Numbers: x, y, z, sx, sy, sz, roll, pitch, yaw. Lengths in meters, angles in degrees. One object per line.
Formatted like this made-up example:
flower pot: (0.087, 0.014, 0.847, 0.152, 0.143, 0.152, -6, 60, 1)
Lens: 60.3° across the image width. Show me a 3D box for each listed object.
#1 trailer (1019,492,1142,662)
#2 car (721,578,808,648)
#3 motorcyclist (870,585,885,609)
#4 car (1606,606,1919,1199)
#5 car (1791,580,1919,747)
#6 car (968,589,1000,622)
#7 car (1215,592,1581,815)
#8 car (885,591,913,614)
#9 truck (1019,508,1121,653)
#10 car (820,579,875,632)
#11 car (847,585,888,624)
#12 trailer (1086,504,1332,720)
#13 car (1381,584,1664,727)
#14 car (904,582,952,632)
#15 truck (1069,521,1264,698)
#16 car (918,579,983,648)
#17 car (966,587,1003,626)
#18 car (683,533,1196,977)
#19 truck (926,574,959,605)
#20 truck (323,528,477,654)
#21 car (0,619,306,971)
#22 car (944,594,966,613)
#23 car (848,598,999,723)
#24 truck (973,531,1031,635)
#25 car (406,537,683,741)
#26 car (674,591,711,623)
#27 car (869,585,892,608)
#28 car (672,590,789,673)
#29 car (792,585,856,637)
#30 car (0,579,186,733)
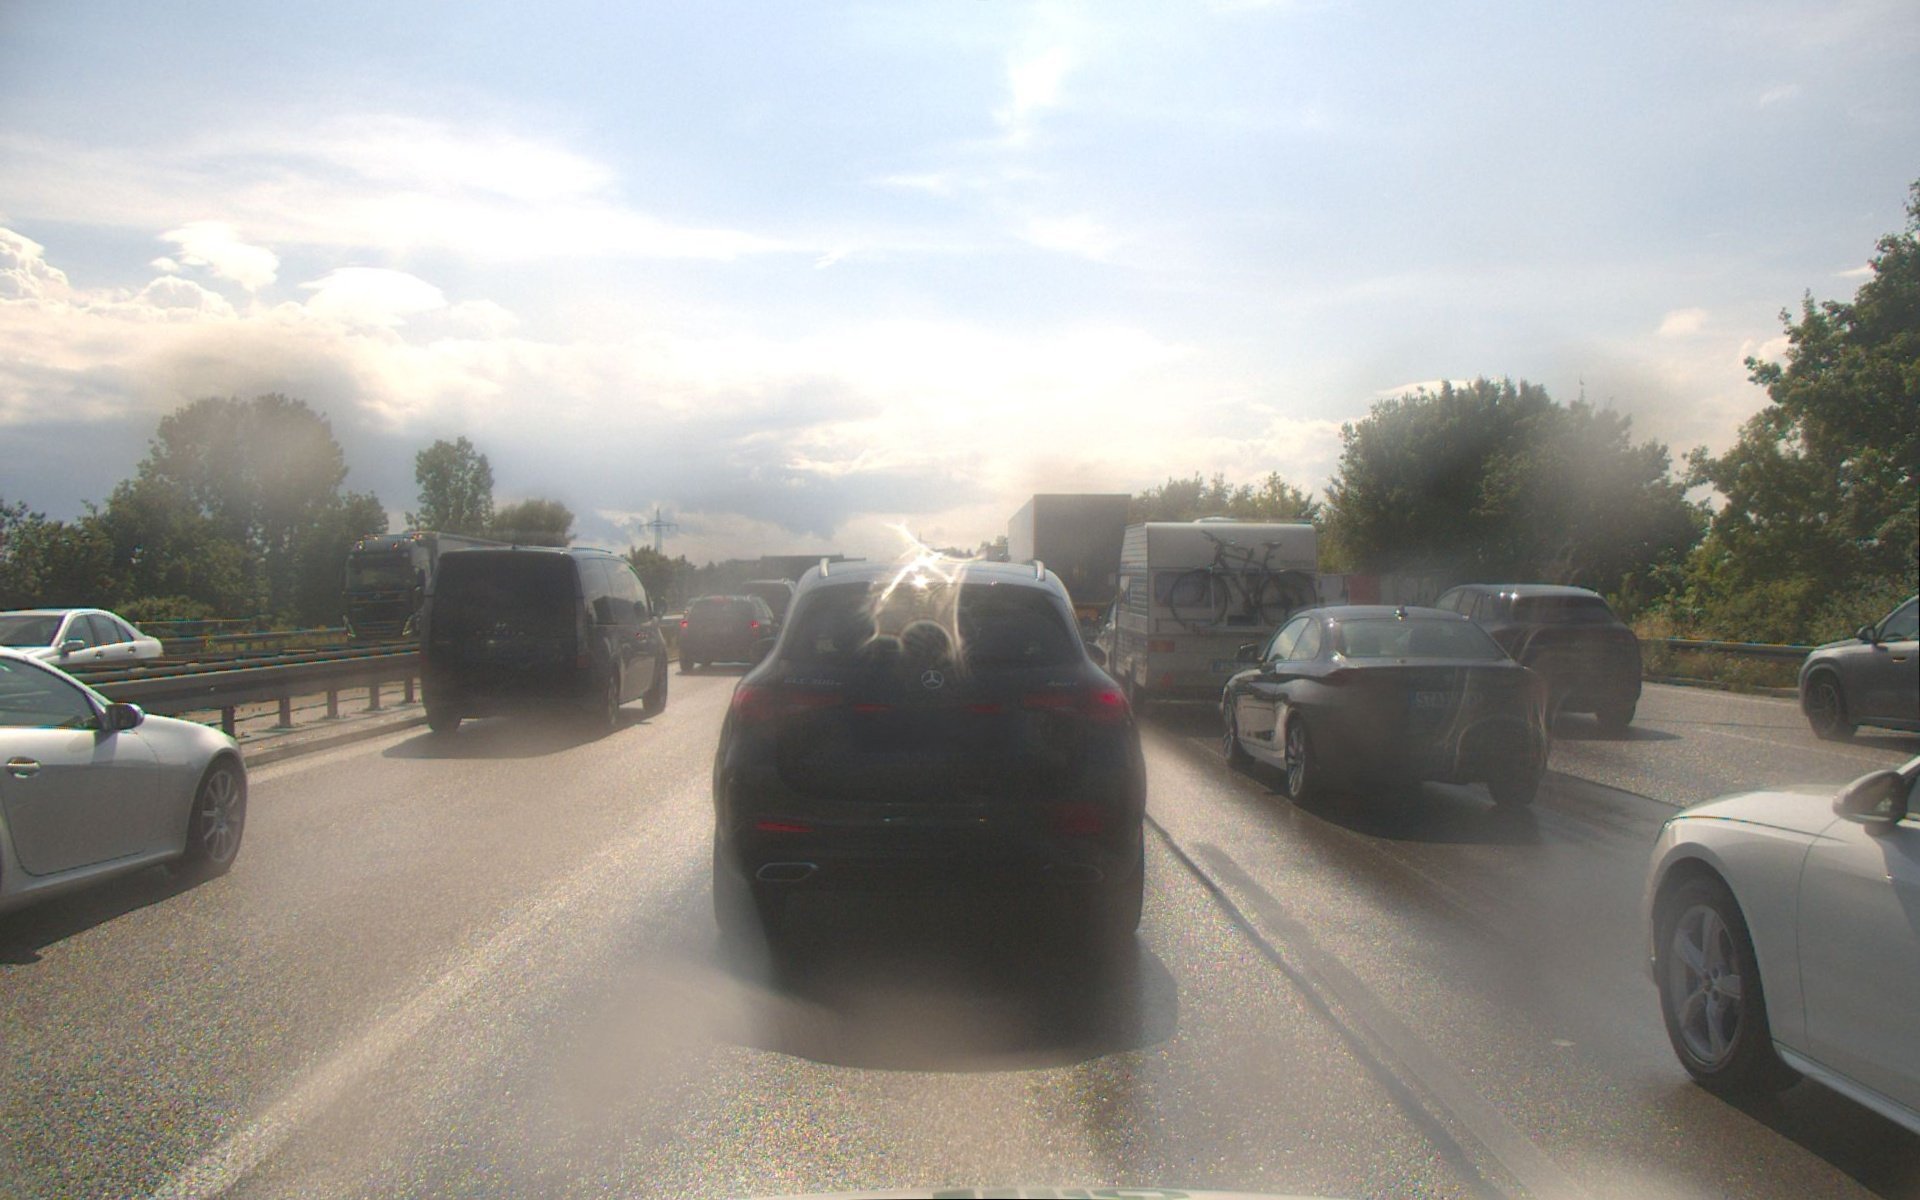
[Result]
trailer: (3.179, -0.572, 45.773, 2.945, 4.239, 8.537, 1, 0, 1)
car: (-5.134, 0.327, 43.896, 1.953, 1.750, 3.998, 1, 0, -2)
motorcyclist: (-6.073, -0.240, 121.764, 1.042, 1.748, 0.785, 0, 0, 0)
car: (3.284, 0.767, 3.567, 1.790, 1.450, 4.508, 2, -1, -3)
car: (10.160, 0.630, 16.242, 1.713, 1.614, 4.284, 1, 0, -2)
car: (1.560, 0.361, 110.101, 1.953, 2.048, 4.000, 4, 0, 0)
car: (3.275, 0.699, 13.266, 1.810, 1.489, 4.255, 0, 0, 0)
car: (-4.760, 0.168, 129.038, 1.953, 1.644, 4.000, 4, 0, 0)
truck: (3.332, -0.581, 51.434, 2.933, 4.239, 5.241, 1, 0, 1)
car: (-4.764, 0.214, 70.475, 1.953, 2.048, 4.000, 4, 0, 0)
car: (-4.999, 0.231, 90.133, 1.953, 2.049, 4.000, 1, 0, 0)
trailer: (3.219, 0.150, 22.939, 2.326, 2.526, 6.522, 1, 0, -1)
car: (6.917, 0.615, 20.904, 1.953, 1.609, 4.652, 0, 0, -1)
car: (-1.343, 0.291, 71.230, 1.953, 2.049, 4.000, 0, 0, 0)
truck: (3.175, 0.138, 26.765, 2.326, 2.520, 5.755, 1, 0, -1)
car: (-0.299, 0.426, 54.902, 1.953, 2.048, 4.000, 4, 0, 0)
car: (1.355, 0.338, 91.756, 1.953, 2.049, 4.000, 2, 0, 0)
car: (-0.101, 0.595, 8.525, 1.953, 1.690, 4.405, 0, 0, -1)
truck: (-2.475, -1.390, 229.818, 3.767, 4.087, 11.210, 1, 0, -4)
truck: (-20.000, -0.294, 59.620, 2.944, 4.175, 7.685, -1, 0, -1)
car: (-4.537, 0.767, 7.345, 1.689, 1.300, 4.063, 0, 0, -1)
car: (-0.491, 0.311, 158.820, 1.839, 1.791, 3.997, 1, 0, -3)
car: (-0.399, 0.683, 20.823, 1.721, 1.411, 3.945, 0, 0, 0)
truck: (2.047, -0.791, 82.743, 2.451, 4.914, 7.540, 1, 0, -2)
car: (-4.613, 0.385, 19.259, 1.953, 2.049, 5.268, 0, 0, -1)
car: (-17.486, 0.457, 108.312, 1.953, 2.049, 3.998, 0, -1, -2)
car: (-7.521, -0.345, 156.555, 1.954, 2.048, 3.998, 4, 0, -3)
car: (-4.482, 0.572, 32.860, 1.721, 1.543, 4.209, 0, 0, 0)
car: (-4.862, 0.374, 59.792, 1.953, 1.803, 4.000, -1, 0, 0)
car: (-11.765, 0.678, 20.996, 1.953, 1.760, 4.205, 0, -1, -1)
